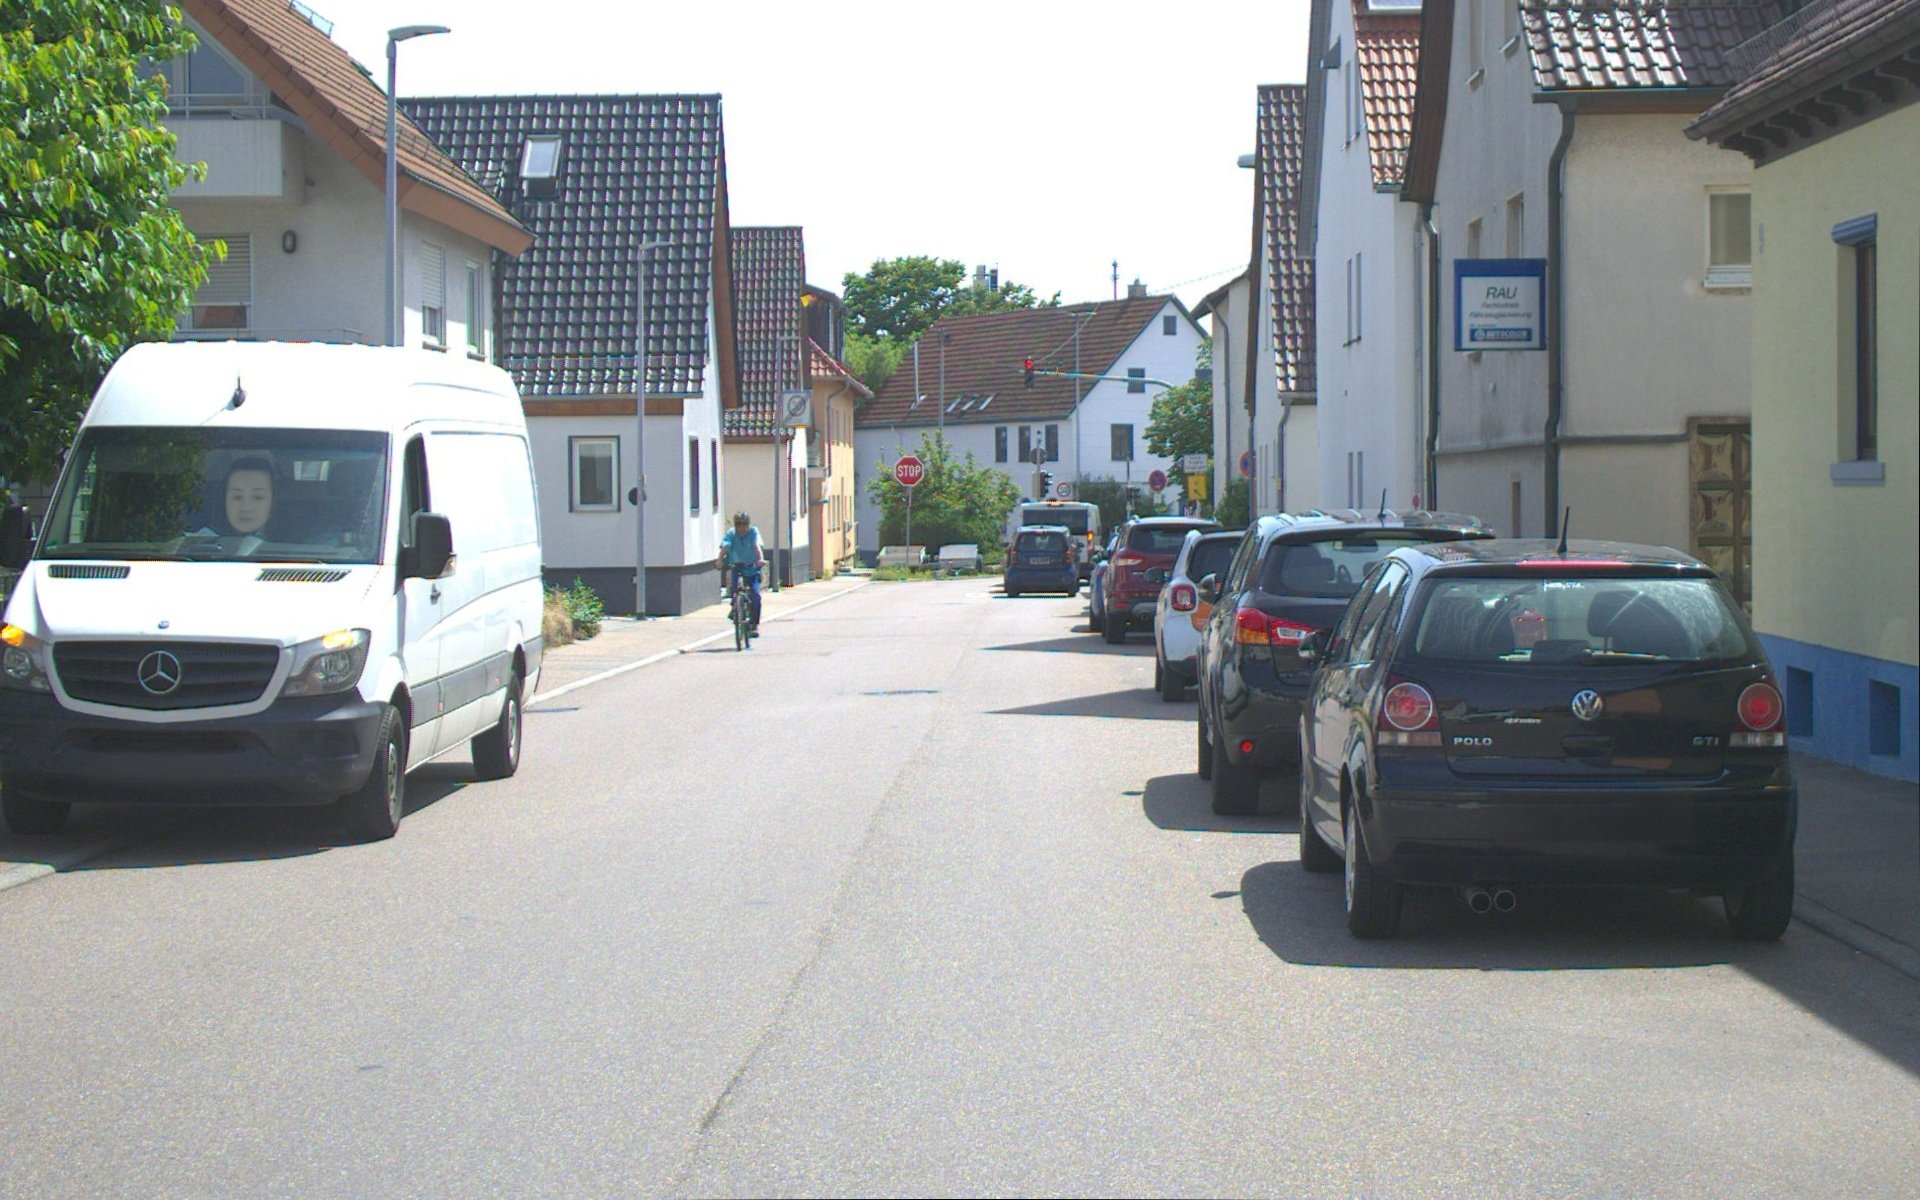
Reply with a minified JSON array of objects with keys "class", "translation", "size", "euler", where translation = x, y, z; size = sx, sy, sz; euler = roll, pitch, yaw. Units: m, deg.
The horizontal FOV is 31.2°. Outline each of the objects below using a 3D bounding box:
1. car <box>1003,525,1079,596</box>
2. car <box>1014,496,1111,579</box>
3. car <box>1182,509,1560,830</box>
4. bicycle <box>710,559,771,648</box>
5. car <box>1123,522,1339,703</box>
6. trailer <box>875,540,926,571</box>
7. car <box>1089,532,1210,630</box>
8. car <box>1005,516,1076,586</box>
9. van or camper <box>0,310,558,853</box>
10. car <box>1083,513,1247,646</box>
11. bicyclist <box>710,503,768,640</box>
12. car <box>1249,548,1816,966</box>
[{"class":"car","translation":[1.847,-0.910,77.407],"size":[1.516,1.561,3.184],"euler":[1,1,5]},{"class":"car","translation":[2.775,-1.681,91.663],"size":[2.129,2.151,4.735],"euler":[0,1,7]},{"class":"car","translation":[2.201,0.298,19.407],"size":[1.728,1.594,4.253],"euler":[1,1,2]},{"class":"bicycle","translation":[-2.885,0.029,45.361],"size":[0.670,1.128,2.189],"euler":[0,1,0]},{"class":"car","translation":[2.425,0.074,31.344],"size":[1.673,1.553,3.040],"euler":[0,1,-1]},{"class":"trailer","translation":[-1.858,-1.404,107.457],"size":[1.502,0.924,1.012],"euler":[2,1,3]},{"class":"car","translation":[2.866,-0.317,52.554],"size":[1.763,1.419,4.592],"euler":[0,1,2]},{"class":"car","translation":[1.942,-1.181,82.456],"size":[1.516,1.619,3.184],"euler":[-1,1,5]},{"class":"van or camper","translation":[-3.858,-0.172,19.759],"size":[2.184,2.563,6.807],"euler":[1,1,1]},{"class":"car","translation":[2.709,-0.317,46.262],"size":[1.875,1.694,4.183],"euler":[0,1,-1]},{"class":"bicyclist","translation":[-2.923,-0.386,45.468],"size":[0.713,1.792,0.942],"euler":[0,1,-1]},{"class":"car","translation":[2.170,0.525,13.966],"size":[1.610,1.426,3.754],"euler":[0,1,-1]}]
